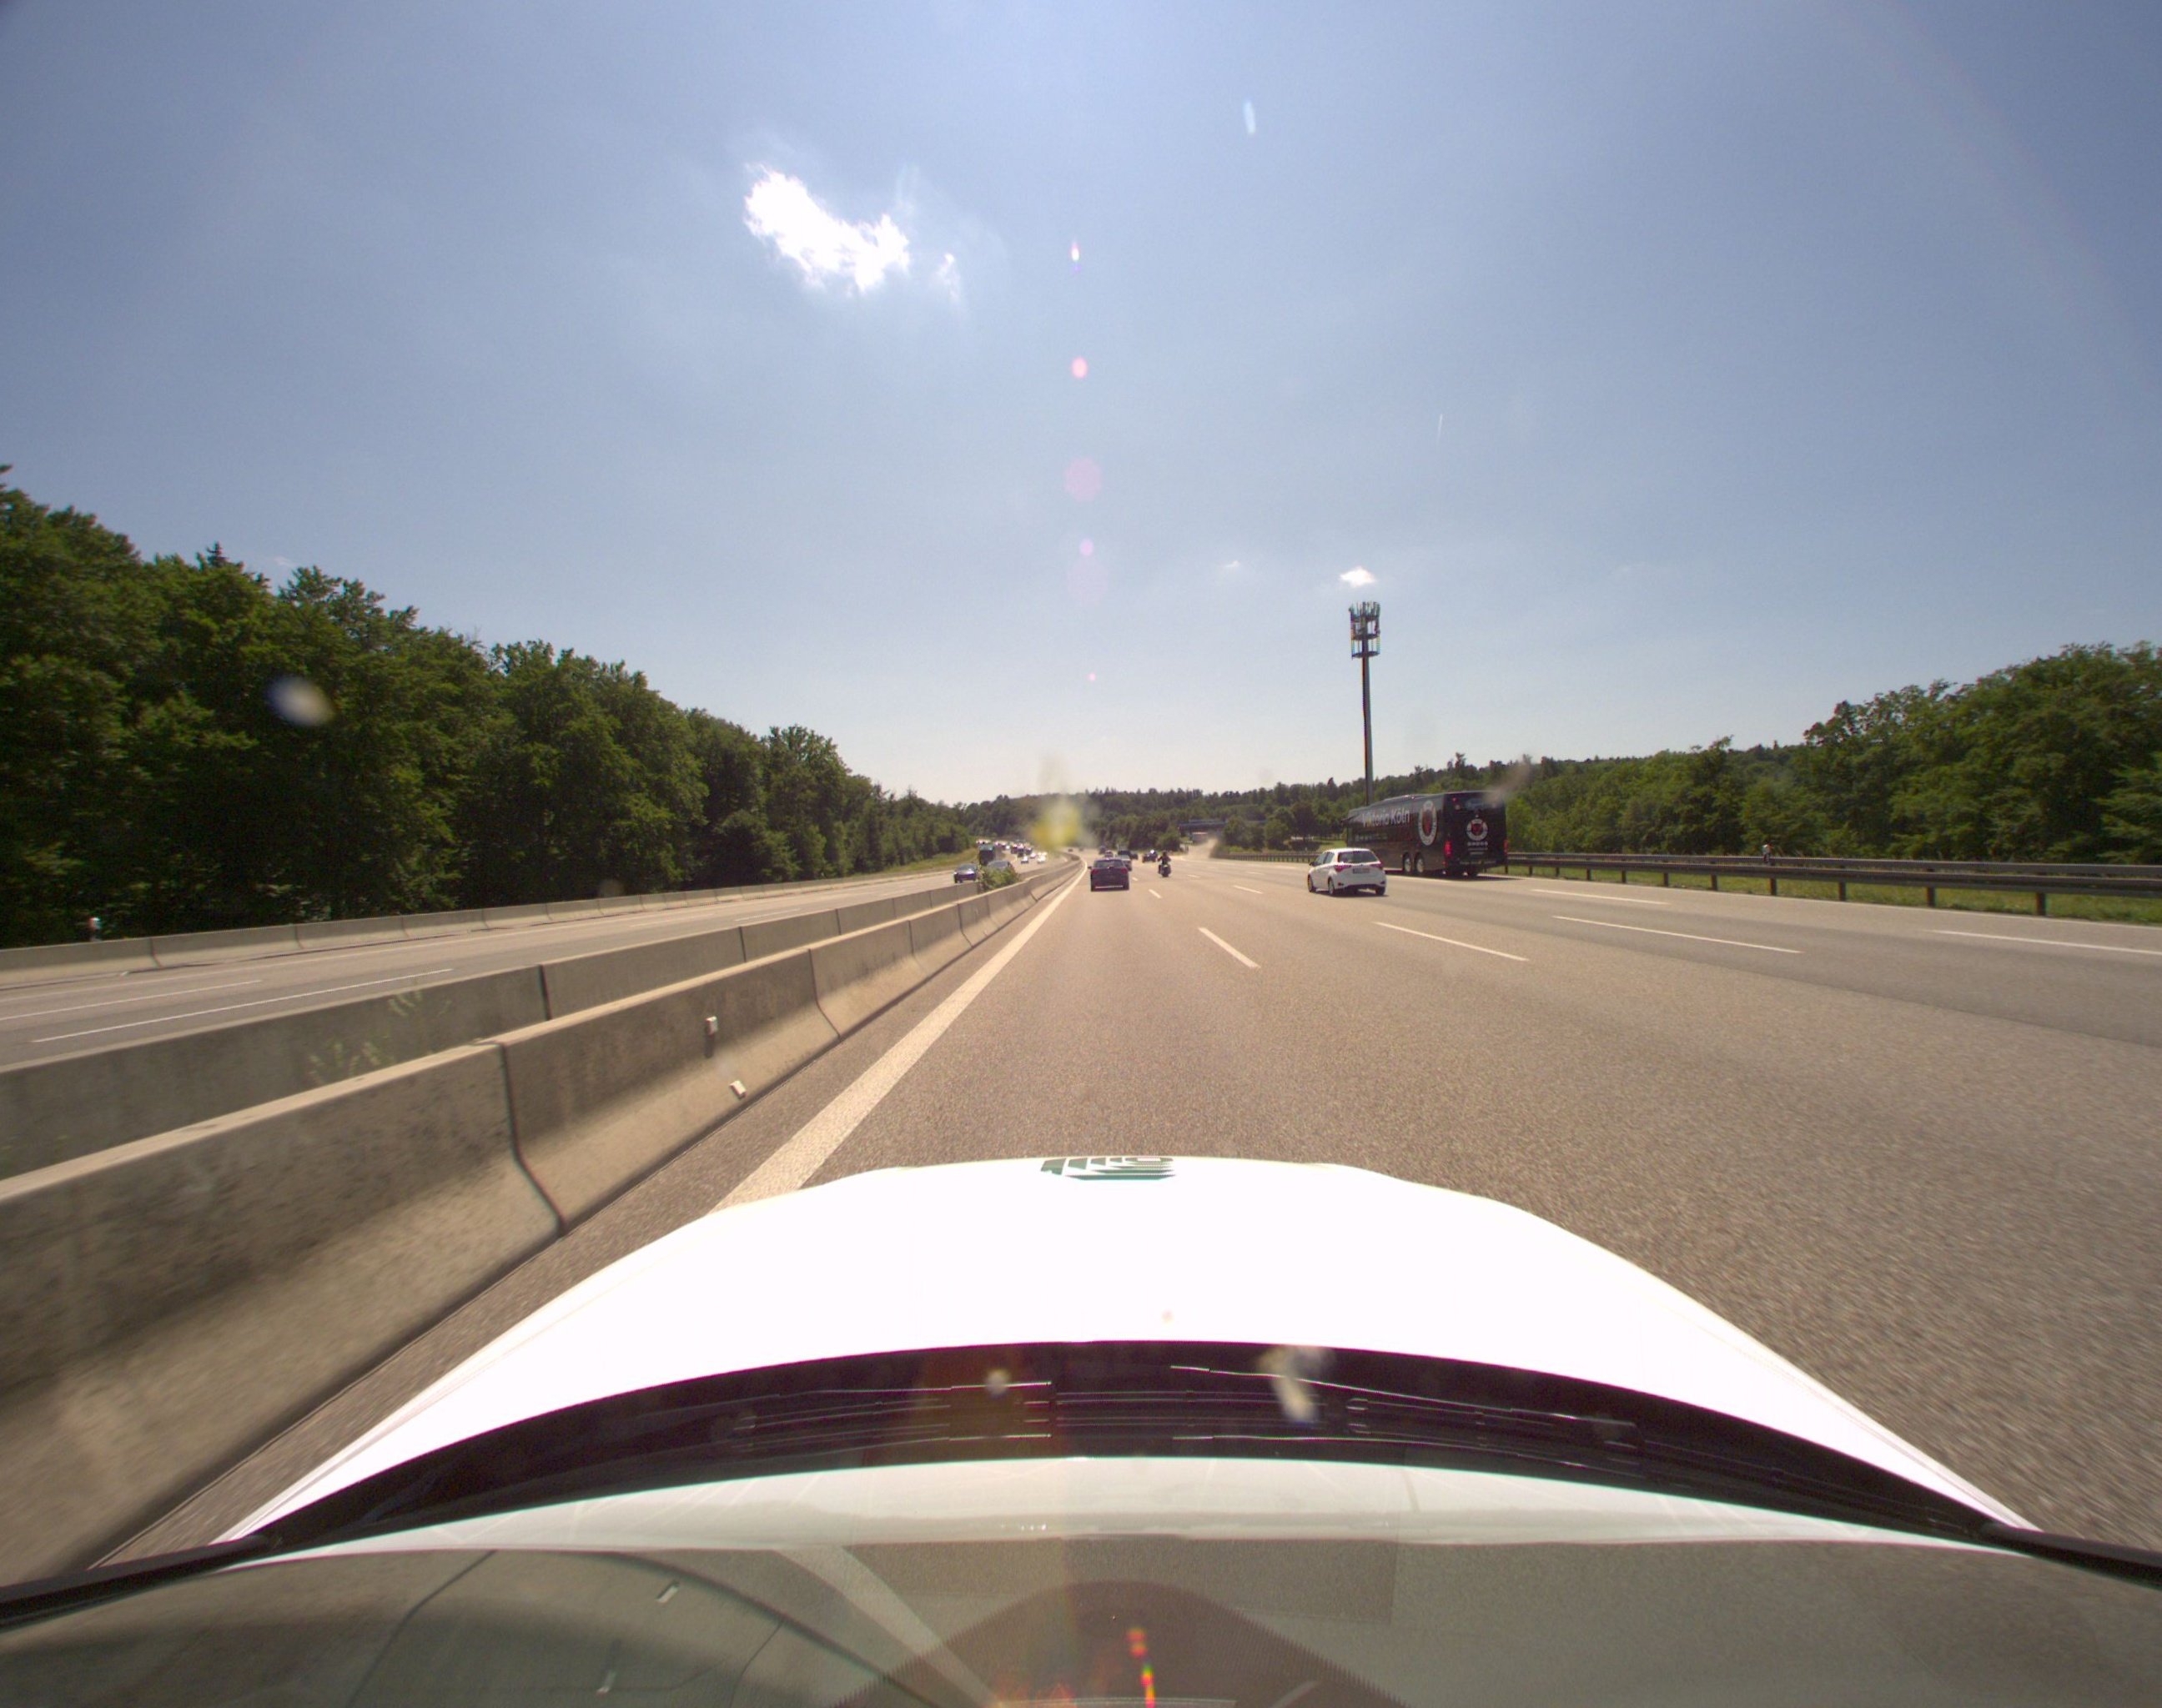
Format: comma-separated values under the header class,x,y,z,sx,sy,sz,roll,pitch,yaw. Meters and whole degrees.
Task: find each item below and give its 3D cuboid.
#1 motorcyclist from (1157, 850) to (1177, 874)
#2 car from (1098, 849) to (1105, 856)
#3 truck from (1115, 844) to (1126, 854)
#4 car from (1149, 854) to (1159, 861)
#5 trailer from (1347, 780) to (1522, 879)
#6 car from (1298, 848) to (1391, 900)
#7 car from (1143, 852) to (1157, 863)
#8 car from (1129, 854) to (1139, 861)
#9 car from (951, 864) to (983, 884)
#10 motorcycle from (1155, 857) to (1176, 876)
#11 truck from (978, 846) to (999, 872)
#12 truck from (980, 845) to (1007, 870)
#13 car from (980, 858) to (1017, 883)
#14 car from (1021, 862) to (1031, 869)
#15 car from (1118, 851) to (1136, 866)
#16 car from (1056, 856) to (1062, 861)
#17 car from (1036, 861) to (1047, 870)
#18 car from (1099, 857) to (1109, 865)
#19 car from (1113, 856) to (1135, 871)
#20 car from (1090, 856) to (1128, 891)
class,x,y,z,sx,sy,sz,roll,pitch,yaw
motorcyclist,5.367,0.472,50.865,0.960,1.437,1.234,-3,1,-2
car,6.326,-0.504,253.123,1.988,2.013,4.671,0,1,-2
truck,11.440,-1.353,235.746,2.720,2.786,5.678,0,1,-2
car,13.883,0.586,154.500,1.603,1.212,3.460,-2,0,0
trailer,15.799,-0.937,38.089,2.845,3.688,13.553,-2,0,3
car,8.556,0.593,26.844,1.660,1.433,4.377,-5,0,1
car,9.810,0.494,116.345,1.670,1.431,3.685,-3,0,0
car,9.770,0.698,150.168,1.603,1.212,3.460,-2,0,0
car,-9.106,1.566,65.215,1.761,1.478,4.483,-3,0,2
motorcycle,5.261,0.754,50.962,0.975,1.129,2.269,-3,0,-2
truck,-15.389,0.842,135.309,2.649,4.025,5.511,-3,0,0
truck,-15.239,0.515,142.401,2.680,4.025,14.301,-3,0,1
car,-5.618,1.089,55.978,1.825,1.568,4.788,-3,0,2
car,-12.449,2.593,184.003,1.866,1.534,4.136,-3,0,0
car,6.152,0.575,109.770,2.091,1.851,4.079,-2,0,-1
car,-6.593,1.354,244.081,1.596,1.468,4.505,-3,0,0
car,-7.982,2.307,165.572,1.825,1.561,4.777,-4,0,1
car,3.682,1.080,132.122,1.531,1.212,3.460,-2,0,0
car,3.841,0.881,73.752,1.776,1.265,3.460,-2,0,0
car,1.289,0.852,36.802,1.618,1.487,3.687,-1,0,2
